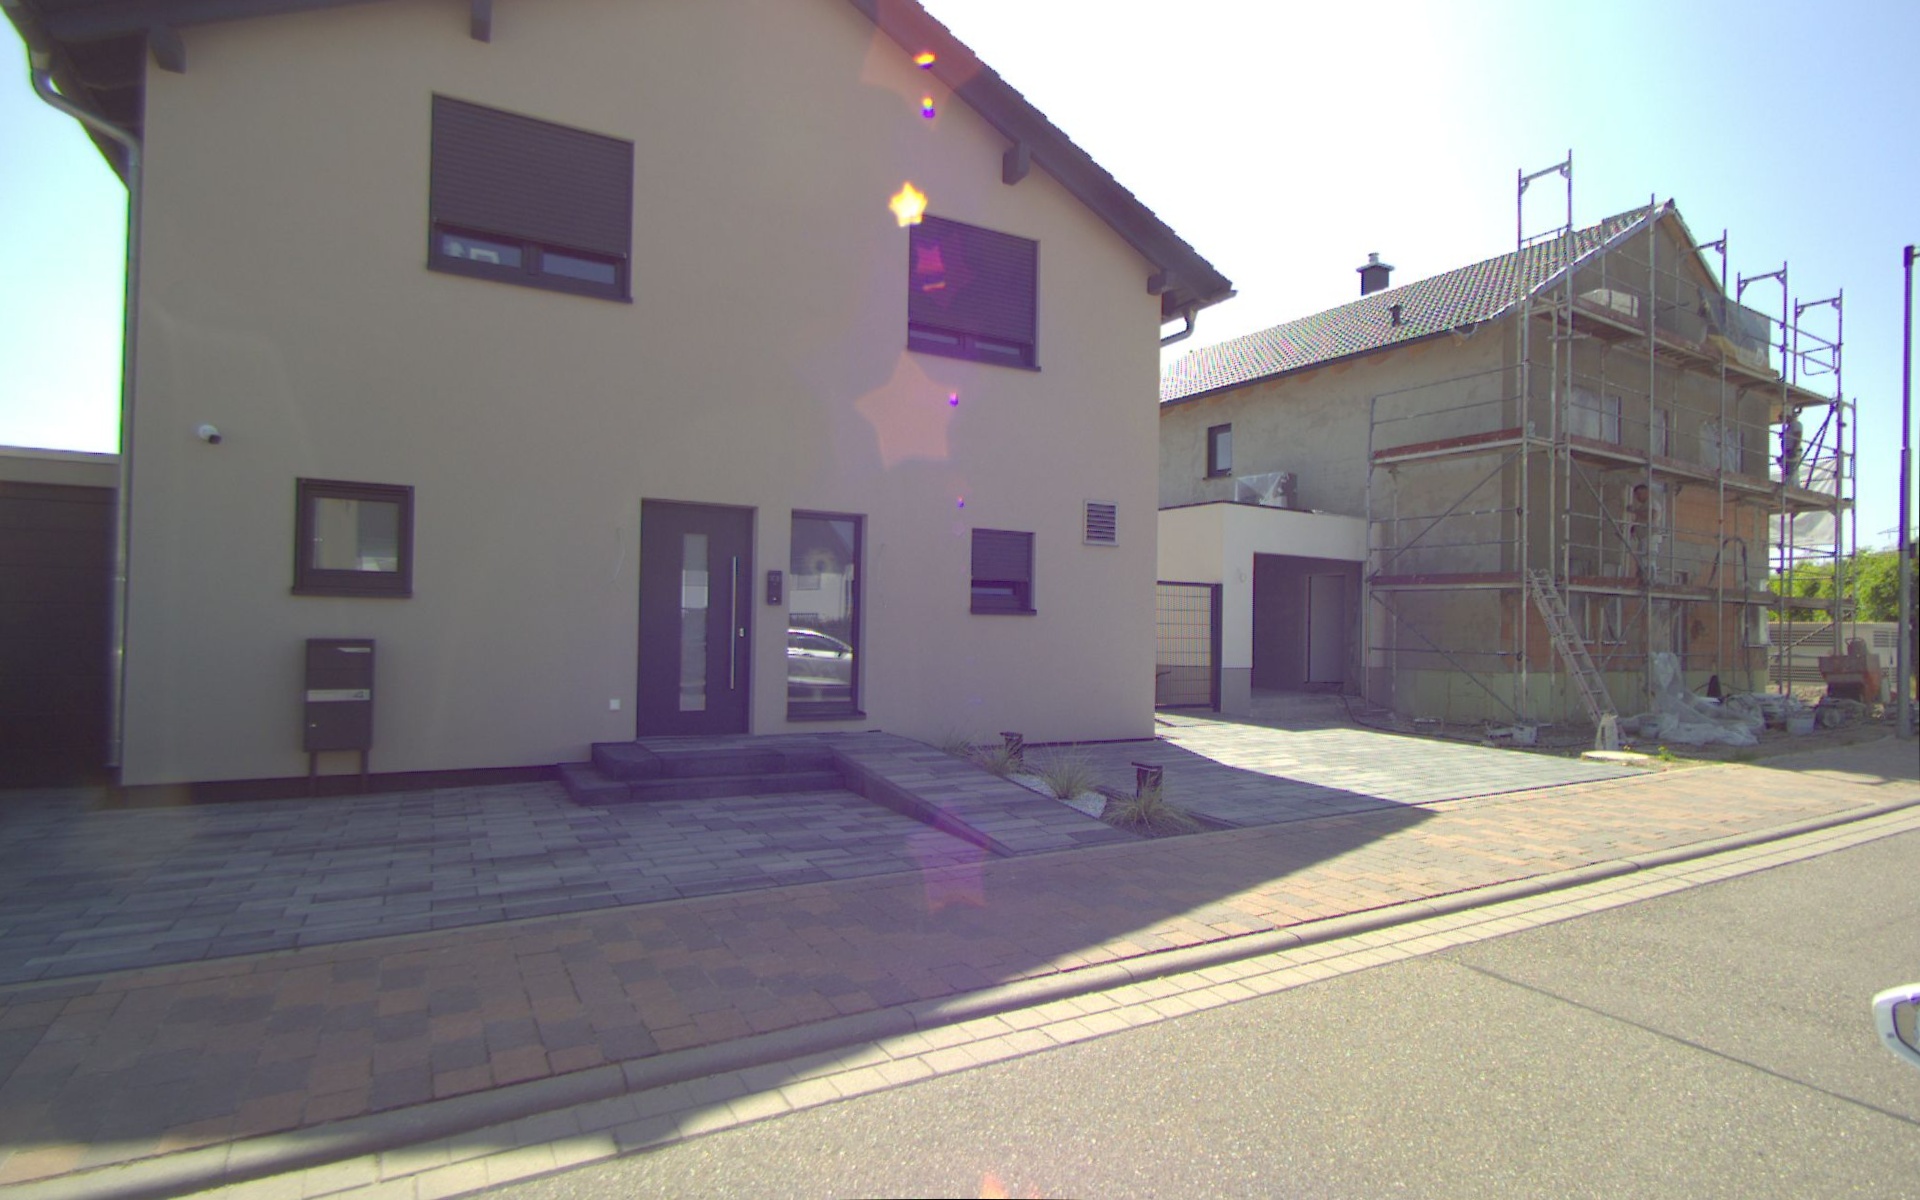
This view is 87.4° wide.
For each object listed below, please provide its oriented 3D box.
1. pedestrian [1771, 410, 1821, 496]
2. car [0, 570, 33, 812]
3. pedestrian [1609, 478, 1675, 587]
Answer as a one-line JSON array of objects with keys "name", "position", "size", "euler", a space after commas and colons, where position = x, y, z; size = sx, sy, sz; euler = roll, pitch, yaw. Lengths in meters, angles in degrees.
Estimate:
[{"name": "pedestrian", "position": [16.308, -2.850, 19.604], "size": [0.552, 1.519, 0.748], "euler": [1, -3, 22]}, {"name": "car", "position": [-6.541, 0.561, 4.940], "size": [1.977, 1.633, 4.403], "euler": [1, -2, -31]}, {"name": "pedestrian", "position": [11.122, -1.097, 16.396], "size": [0.733, 1.701, 0.579], "euler": [1, -3, 17]}]
